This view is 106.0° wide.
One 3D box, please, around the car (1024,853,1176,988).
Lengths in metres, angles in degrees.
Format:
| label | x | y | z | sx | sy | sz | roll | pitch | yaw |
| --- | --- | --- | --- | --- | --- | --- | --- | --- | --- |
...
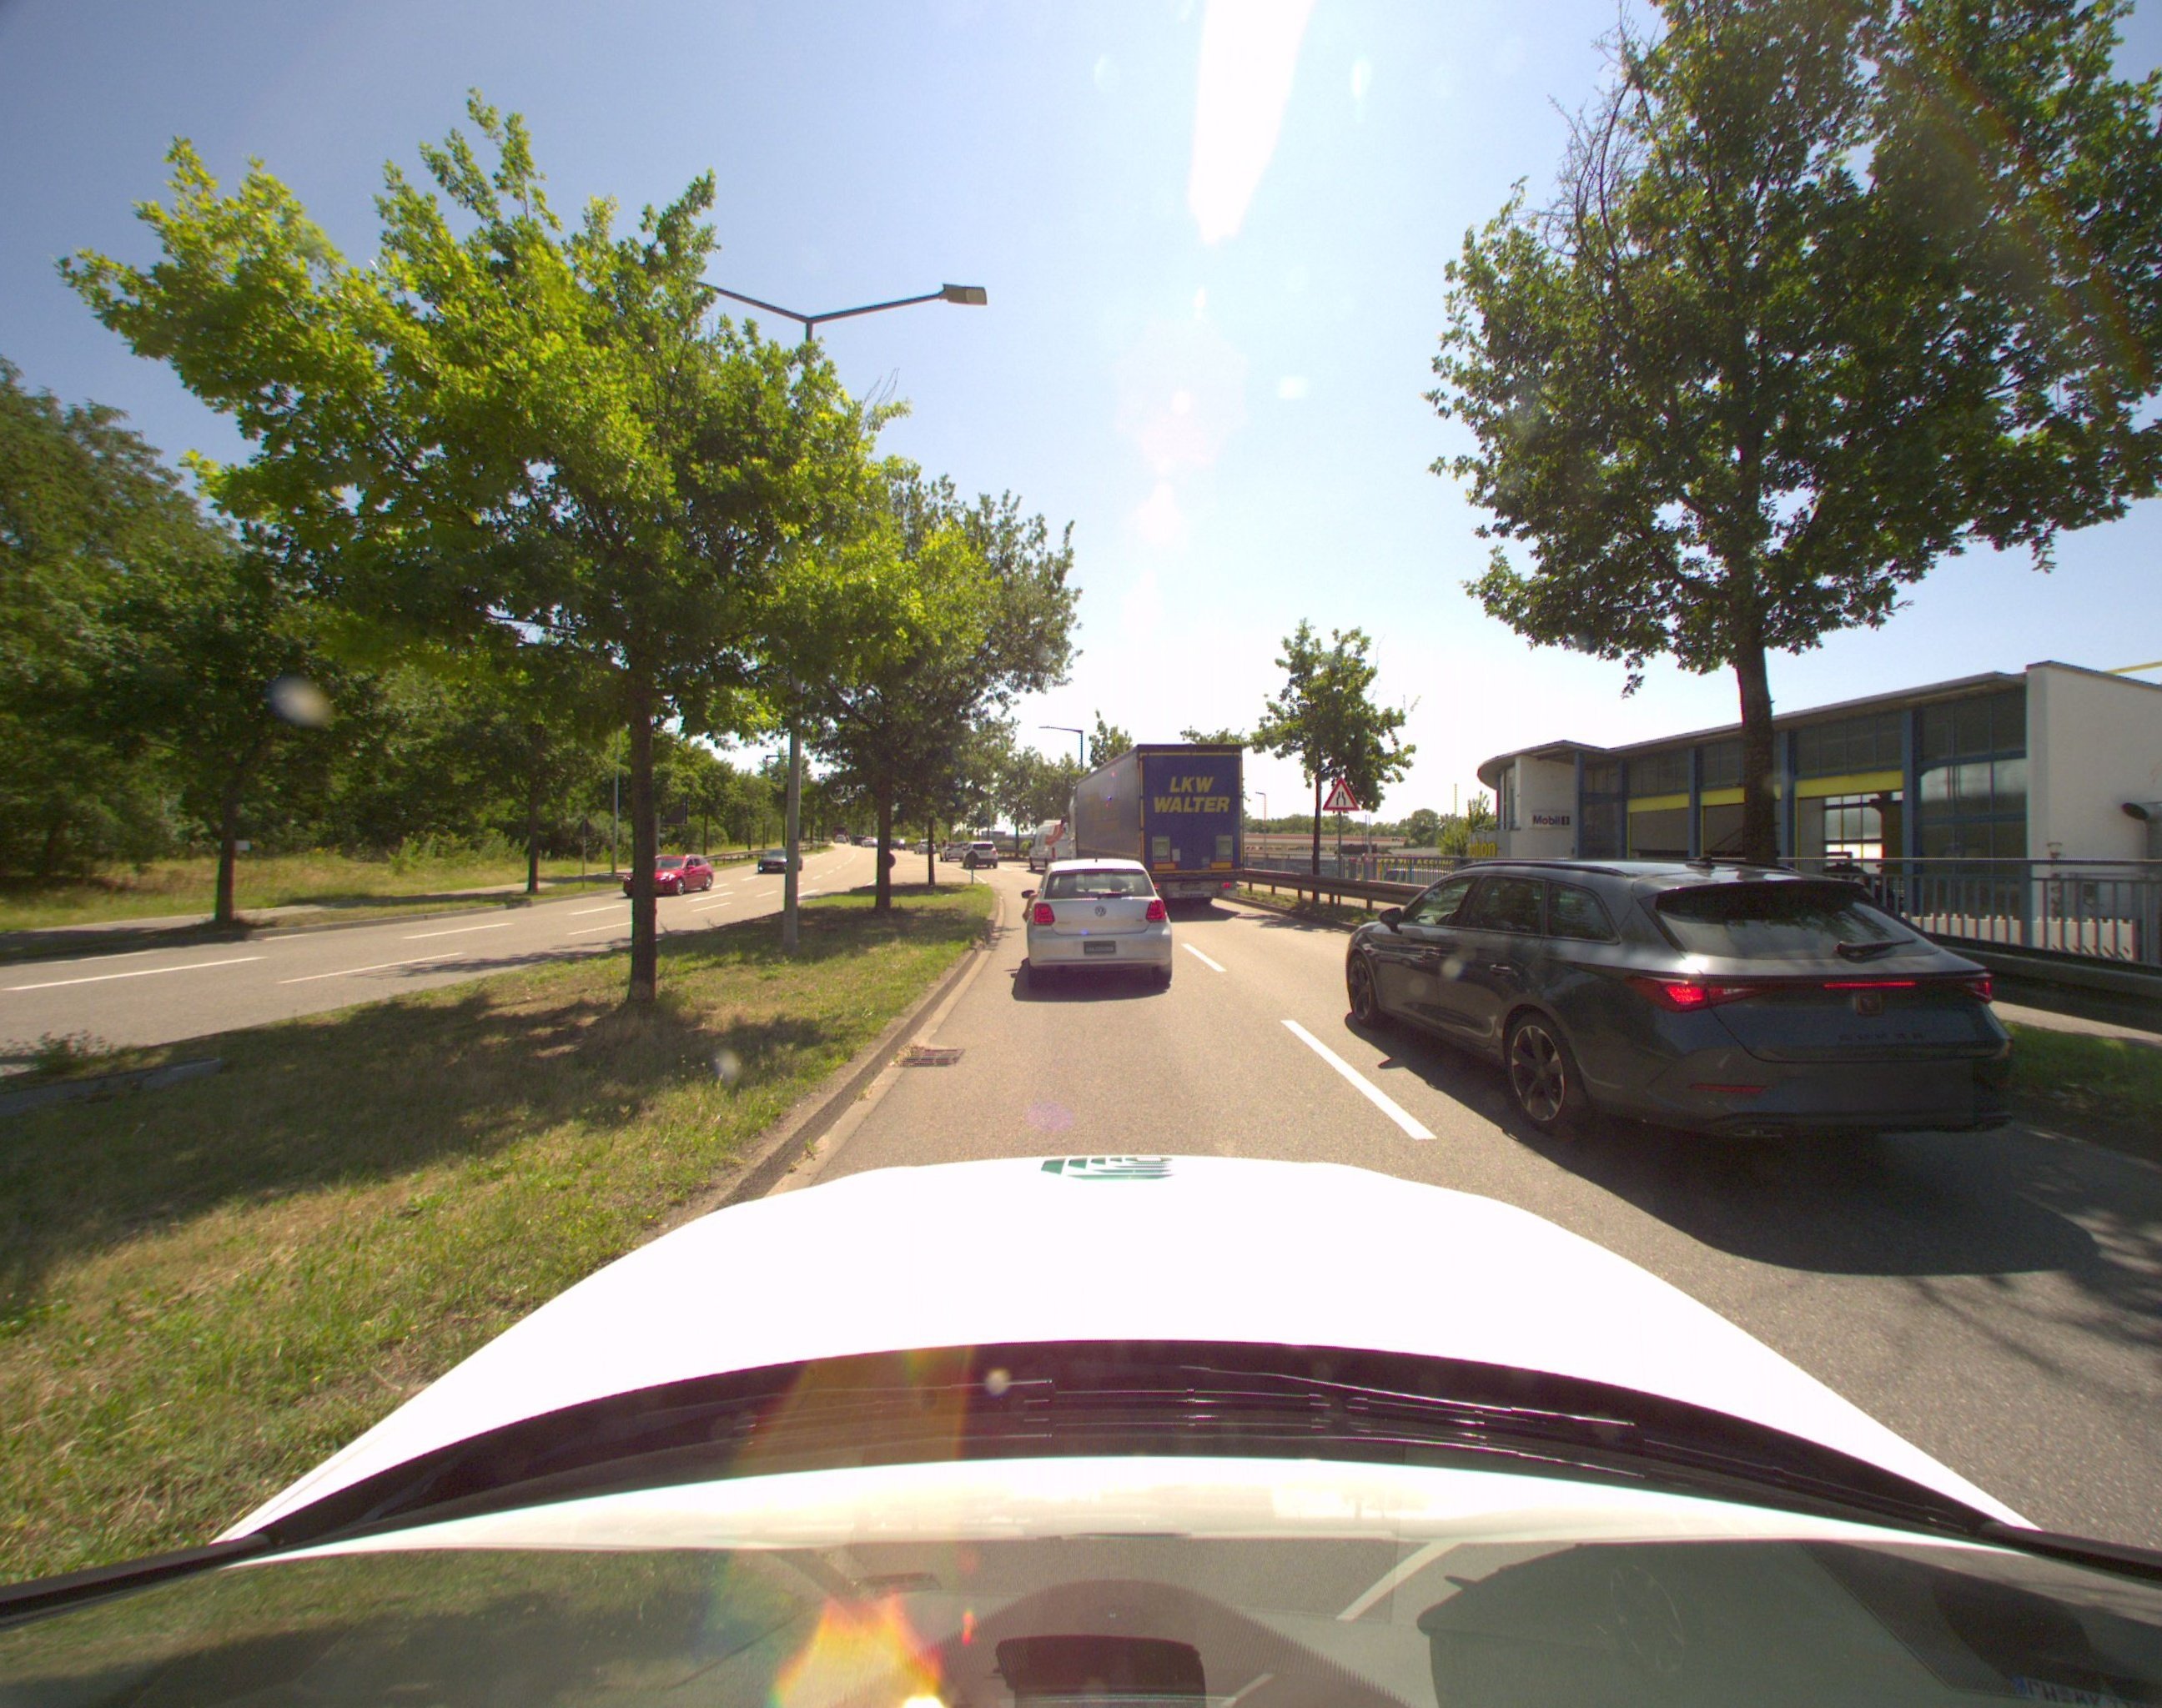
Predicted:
| label | x | y | z | sx | sy | sz | roll | pitch | yaw |
| --- | --- | --- | --- | --- | --- | --- | --- | --- | --- |
| car | 0.140 | 0.728 | 10.525 | 1.642 | 1.439 | 3.533 | 0 | -1 | -2 |

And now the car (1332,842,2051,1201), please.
| label | x | y | z | sx | sy | sz | roll | pitch | yaw |
| --- | --- | --- | --- | --- | --- | --- | --- | --- | --- |
| car | 3.175 | 0.701 | 5.470 | 1.600 | 1.456 | 4.233 | 0 | -1 | -1 |

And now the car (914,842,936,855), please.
| label | x | y | z | sx | sy | sz | roll | pitch | yaw |
| --- | --- | --- | --- | --- | --- | --- | --- | --- | --- |
| car | -16.133 | -0.554 | 84.201 | 1.614 | 1.360 | 3.636 | 0 | 0 | -22 |

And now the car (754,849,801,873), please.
| label | x | y | z | sx | sy | sz | roll | pitch | yaw |
| --- | --- | --- | --- | --- | --- | --- | --- | --- | --- |
| car | -17.610 | 0.431 | 47.397 | 1.810 | 1.333 | 4.551 | 0 | -1 | -11 |

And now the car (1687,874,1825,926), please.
| label | x | y | z | sx | sy | sz | roll | pitch | yaw |
| --- | --- | --- | --- | --- | --- | --- | --- | --- | --- |
| car | 23.177 | 1.545 | 28.020 | 3.666 | 1.684 | 1.646 | 0 | -1 | -9 |

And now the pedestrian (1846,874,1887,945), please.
| label | x | y | z | sx | sy | sz | roll | pitch | yaw |
| --- | --- | --- | --- | --- | --- | --- | --- | --- | --- |
| pedestrian | 19.289 | 1.354 | 20.004 | 0.425 | 1.703 | 0.588 | 0 | -1 | -4 |

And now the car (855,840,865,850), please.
| label | x | y | z | sx | sy | sz | roll | pitch | yaw |
| --- | --- | --- | --- | --- | --- | --- | --- | --- | --- |
| car | -33.948 | -1.375 | 125.044 | 1.420 | 1.314 | 3.319 | 0 | -1 | -16 |

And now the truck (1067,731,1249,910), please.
| label | x | y | z | sx | sy | sz | roll | pitch | yaw |
| --- | --- | --- | --- | --- | --- | --- | --- | --- | --- |
| truck | 1.695 | -0.809 | 27.375 | 2.830 | 4.198 | 16.437 | 0 | 0 | -6 |

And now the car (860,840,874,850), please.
| label | x | y | z | sx | sy | sz | roll | pitch | yaw |
| --- | --- | --- | --- | --- | --- | --- | --- | --- | --- |
| car | -29.807 | -1.189 | 113.330 | 1.462 | 1.314 | 3.611 | 0 | -1 | -22 |

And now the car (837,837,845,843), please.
| label | x | y | z | sx | sy | sz | roll | pitch | yaw |
| --- | --- | --- | --- | --- | --- | --- | --- | --- | --- |
| car | -43.133 | -2.501 | 146.367 | 1.325 | 1.139 | 2.978 | 0 | -1 | -17 |

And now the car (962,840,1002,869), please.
| label | x | y | z | sx | sy | sz | roll | pitch | yaw |
| --- | --- | --- | --- | --- | --- | --- | --- | --- | --- |
| car | -6.270 | 0.040 | 51.099 | 1.907 | 1.718 | 4.201 | 0 | -1 | -15 |

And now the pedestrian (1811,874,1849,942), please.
| label | x | y | z | sx | sy | sz | roll | pitch | yaw |
| --- | --- | --- | --- | --- | --- | --- | --- | --- | --- |
| pedestrian | 19.211 | 1.376 | 20.889 | 0.520 | 1.703 | 0.488 | 0 | -1 | -3 |

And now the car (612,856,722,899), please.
| label | x | y | z | sx | sy | sz | roll | pitch | yaw |
| --- | --- | --- | --- | --- | --- | --- | --- | --- | --- |
| car | -15.440 | 0.830 | 30.664 | 1.825 | 1.437 | 4.523 | -2 | -1 | -1 |

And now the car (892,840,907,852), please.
| label | x | y | z | sx | sy | sz | roll | pitch | yaw |
| --- | --- | --- | --- | --- | --- | --- | --- | --- | --- |
| car | -22.339 | -0.982 | 100.154 | 1.668 | 1.465 | 3.561 | 0 | -1 | -16 |

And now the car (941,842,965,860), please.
| label | x | y | z | sx | sy | sz | roll | pitch | yaw |
| --- | --- | --- | --- | --- | --- | --- | --- | --- | --- |
| car | -9.994 | -0.205 | 63.340 | 1.497 | 1.360 | 3.644 | 0 | 0 | -15 |

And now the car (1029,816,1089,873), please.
| label | x | y | z | sx | sy | sz | roll | pitch | yaw |
| --- | --- | --- | --- | --- | --- | --- | --- | --- | --- |
| car | -1.317 | -0.540 | 45.162 | 2.178 | 2.900 | 6.331 | 0 | 1 | -13 |
